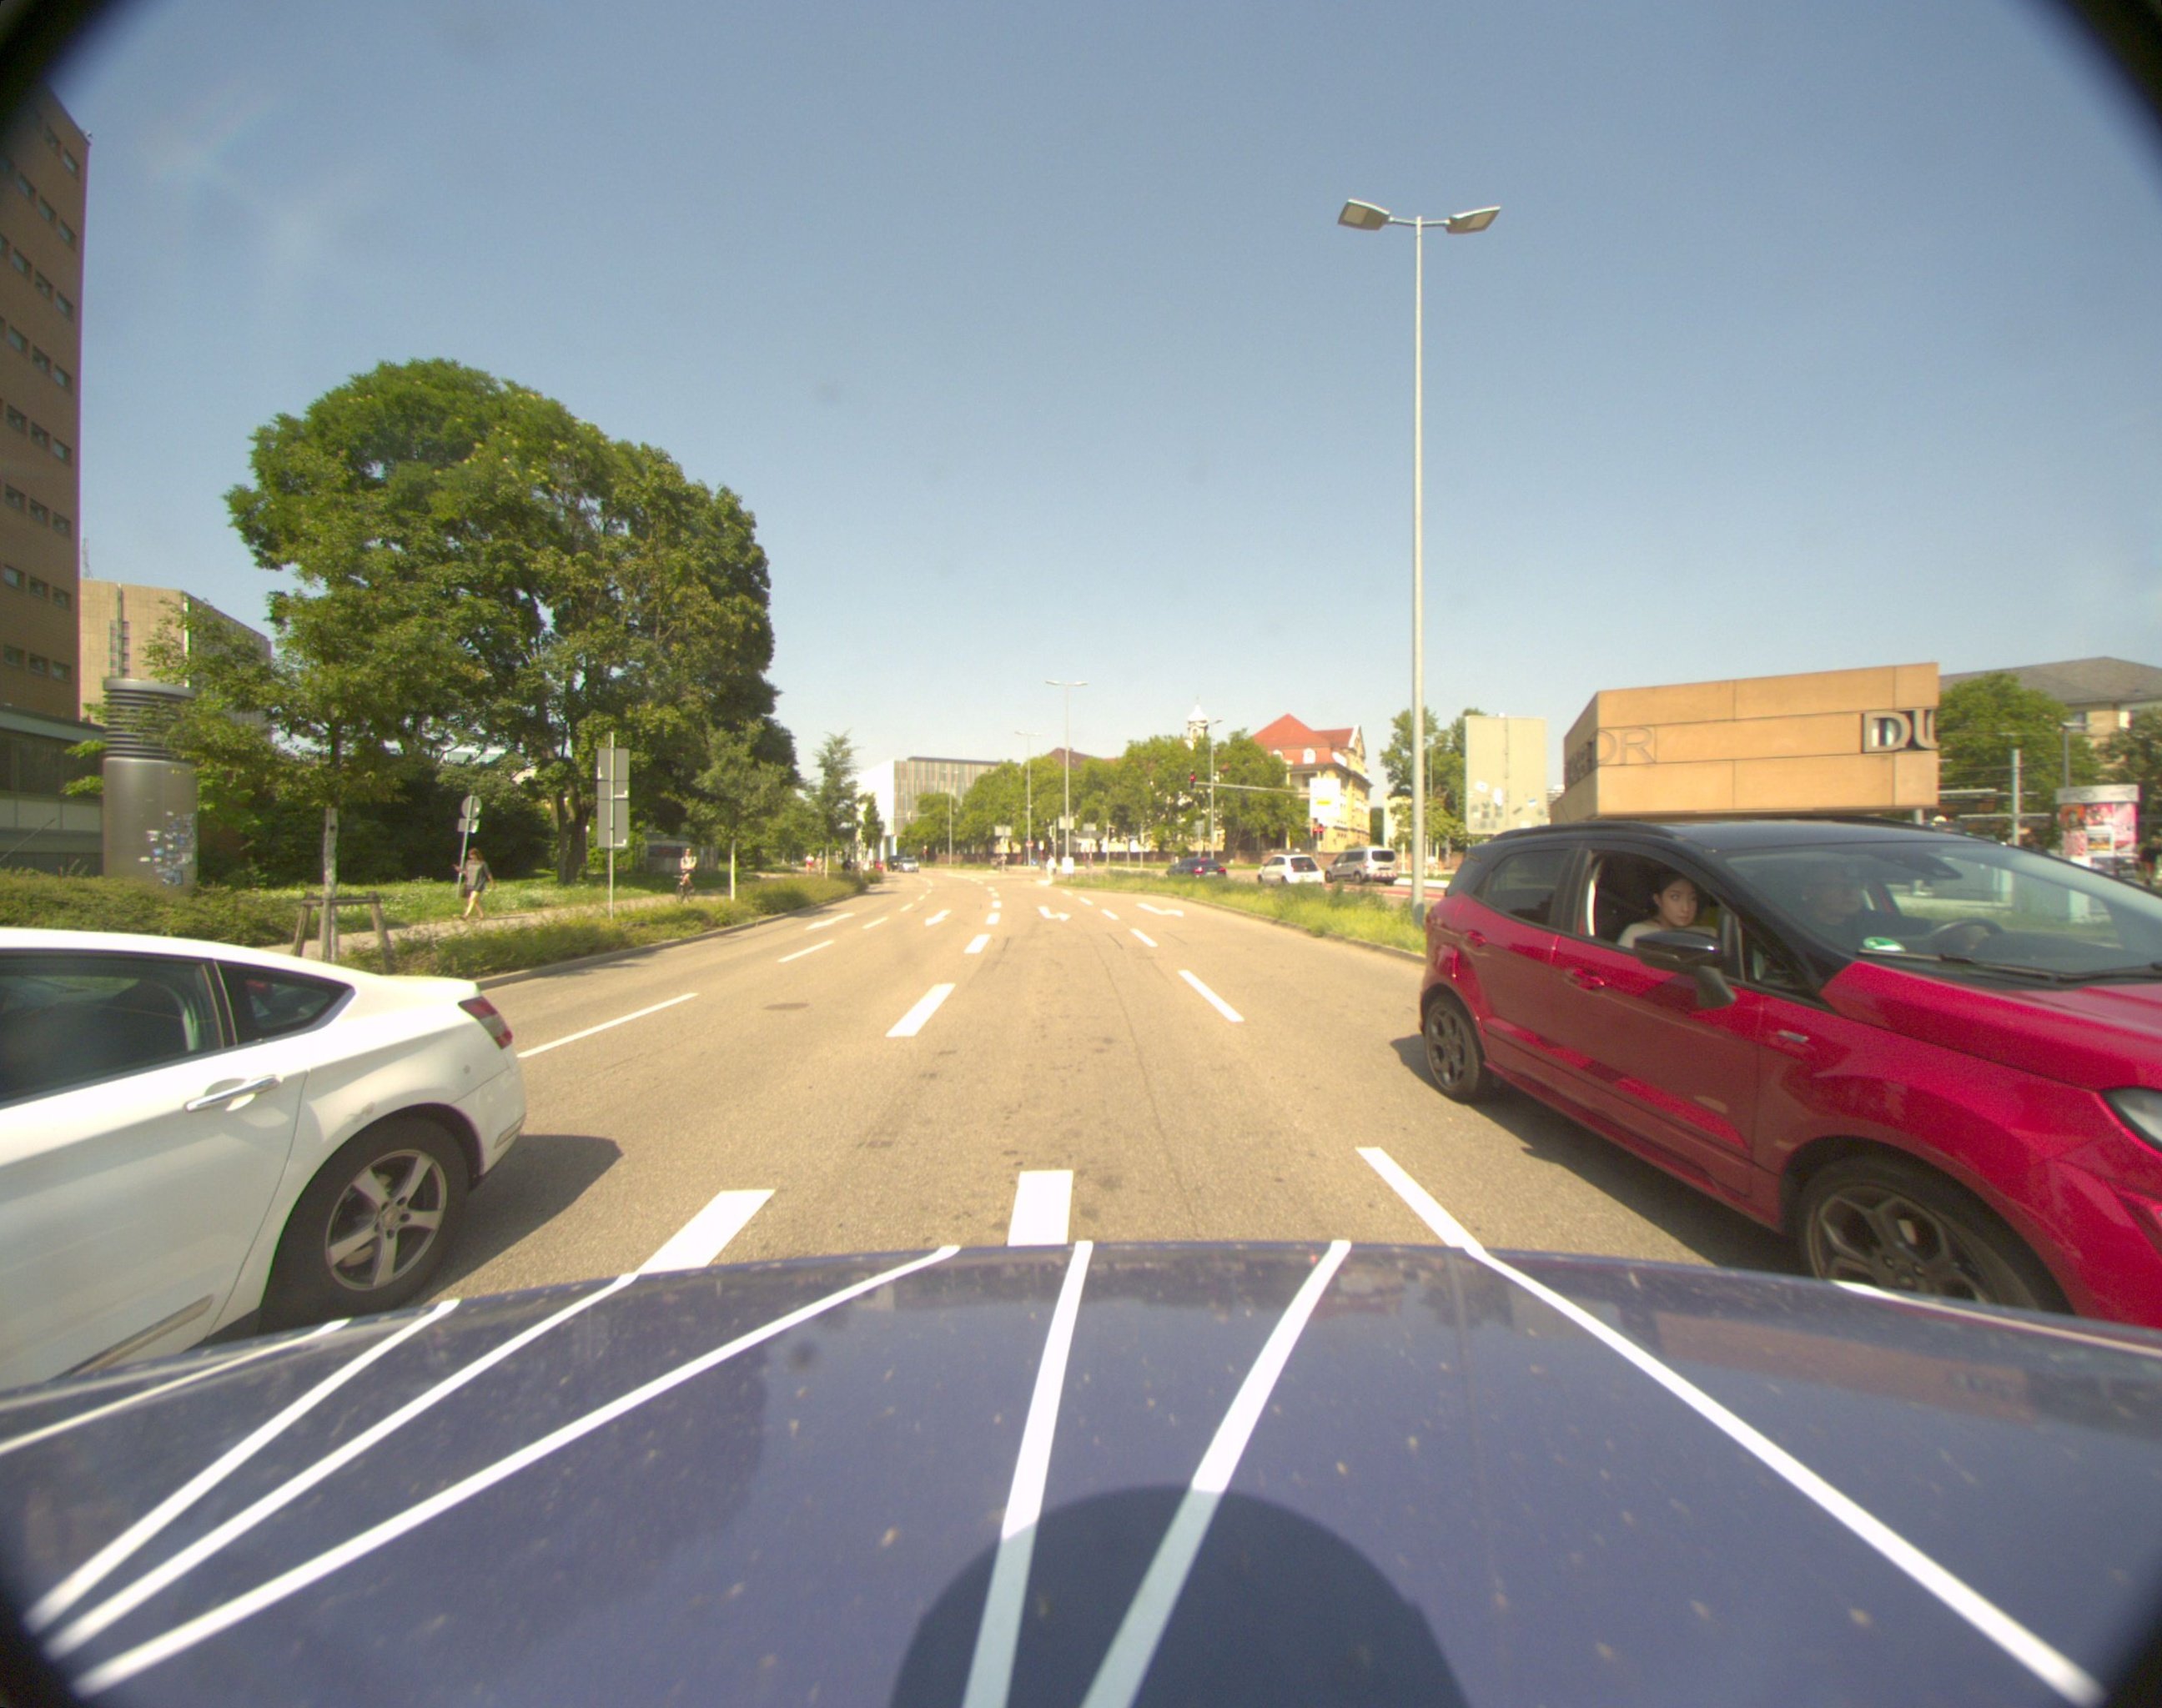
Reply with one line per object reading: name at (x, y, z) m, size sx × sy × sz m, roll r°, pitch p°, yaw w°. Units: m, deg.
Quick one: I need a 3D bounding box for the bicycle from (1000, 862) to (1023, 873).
bicycle at (-6.972, 1.316, 75.925) m, size 2.267 × 1.070 × 0.659 m, roll 0°, pitch 0°, yaw -7°

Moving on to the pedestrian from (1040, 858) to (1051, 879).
pedestrian at (-2.224, 0.884, 47.721) m, size 0.605 × 1.291 × 0.617 m, roll -2°, pitch 1°, yaw -4°

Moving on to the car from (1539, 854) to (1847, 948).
car at (11.823, 0.790, 15.227) m, size 2.000 × 1.575 × 4.711 m, roll 0°, pitch 0°, yaw -8°

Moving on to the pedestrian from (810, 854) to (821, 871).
pedestrian at (-20.289, 0.626, 58.011) m, size 0.635 × 1.291 × 0.486 m, roll -3°, pitch 1°, yaw -28°

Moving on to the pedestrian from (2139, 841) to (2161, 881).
pedestrian at (48.725, 0.315, 34.202) m, size 0.927 × 1.812 × 0.939 m, roll 0°, pitch 1°, yaw 28°

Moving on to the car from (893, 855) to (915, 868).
car at (-20.841, 0.924, 89.153) m, size 1.893 × 1.422 × 4.525 m, roll -2°, pitch 0°, yaw -21°

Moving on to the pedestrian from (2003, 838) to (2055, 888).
pedestrian at (28.142, 0.261, 22.562) m, size 0.771 × 1.488 × 0.606 m, roll 0°, pitch 1°, yaw -1°

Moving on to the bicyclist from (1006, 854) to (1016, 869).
bicyclist at (-7.005, 0.747, 75.941) m, size 1.017 × 1.542 × 0.718 m, roll 0°, pitch 1°, yaw -6°

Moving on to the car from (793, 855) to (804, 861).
car at (-75.598, 1.060, 203.132) m, size 1.877 × 1.521 × 4.522 m, roll 0°, pitch 0°, yaw -32°

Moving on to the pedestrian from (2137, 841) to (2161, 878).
pedestrian at (48.678, 0.240, 34.150) m, size 1.076 × 1.686 × 1.066 m, roll 0°, pitch 1°, yaw 28°

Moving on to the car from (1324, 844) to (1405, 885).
car at (13.593, 0.471, 36.703) m, size 1.869 × 1.843 × 3.911 m, roll 0°, pitch 1°, yaw -12°

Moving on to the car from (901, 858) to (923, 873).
car at (-18.376, 1.217, 82.693) m, size 1.661 × 1.521 × 4.526 m, roll -2°, pitch 0°, yaw -21°

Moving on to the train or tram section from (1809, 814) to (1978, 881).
train or tram section at (47.747, -0.349, 45.341) m, size 2.698 × 3.418 × 13.446 m, roll 0°, pitch 0°, yaw 28°

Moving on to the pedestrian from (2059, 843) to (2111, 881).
pedestrian at (45.267, 0.358, 34.270) m, size 1.076 × 1.686 × 1.066 m, roll 0°, pitch 1°, yaw 28°

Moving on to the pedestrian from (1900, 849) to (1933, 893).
pedestrian at (28.719, 0.585, 26.125) m, size 0.539 × 1.488 × 0.541 m, roll 0°, pitch 1°, yaw -1°

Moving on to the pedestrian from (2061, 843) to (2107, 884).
pedestrian at (45.402, 0.407, 34.403) m, size 0.927 × 1.812 × 0.939 m, roll 0°, pitch 1°, yaw 28°

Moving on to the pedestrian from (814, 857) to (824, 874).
pedestrian at (-20.042, 0.857, 58.059) m, size 0.618 × 1.291 × 0.436 m, roll -3°, pitch 1°, yaw -27°

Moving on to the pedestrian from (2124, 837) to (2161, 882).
pedestrian at (43.049, 0.232, 30.772) m, size 0.804 × 1.812 × 0.534 m, roll 0°, pitch 1°, yaw 28°

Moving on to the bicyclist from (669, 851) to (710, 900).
bicyclist at (-13.083, 0.698, 25.411) m, size 0.904 × 1.596 × 0.924 m, roll 0°, pitch 0°, yaw -2°

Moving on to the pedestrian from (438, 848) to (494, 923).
pedestrian at (-14.247, 0.716, 17.629) m, size 0.672 × 1.689 × 0.805 m, roll 0°, pitch 1°, yaw -8°

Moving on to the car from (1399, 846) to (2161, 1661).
car at (2.944, 0.787, 2.974) m, size 1.694 × 1.577 × 3.844 m, roll -2°, pitch 0°, yaw -1°

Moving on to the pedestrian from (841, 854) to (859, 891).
pedestrian at (-12.065, 0.953, 39.726) m, size 0.823 × 1.892 × 0.630 m, roll -1°, pitch 1°, yaw -12°

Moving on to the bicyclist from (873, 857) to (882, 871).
bicyclist at (-21.201, 1.019, 79.065) m, size 0.679 × 1.392 × 1.049 m, roll 0°, pitch 0°, yaw -3°

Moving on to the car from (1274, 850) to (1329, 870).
car at (18.167, 0.486, 62.683) m, size 4.003 × 1.608 × 1.797 m, roll 0°, pitch 0°, yaw -16°

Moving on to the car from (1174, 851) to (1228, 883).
car at (5.553, 0.584, 35.632) m, size 1.526 × 1.417 × 3.474 m, roll 0°, pitch 0°, yaw -9°

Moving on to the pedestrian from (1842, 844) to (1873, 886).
pedestrian at (27.800, 0.384, 27.193) m, size 0.539 × 1.488 × 0.541 m, roll 0°, pitch 1°, yaw -1°

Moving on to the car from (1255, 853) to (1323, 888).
car at (9.203, 0.690, 33.885) m, size 1.527 × 1.470 × 3.473 m, roll 0°, pitch 0°, yaw -12°

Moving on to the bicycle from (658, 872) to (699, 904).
bicycle at (-13.115, 1.084, 24.785) m, size 0.357 × 0.974 × 1.782 m, roll 0°, pitch 0°, yaw 1°

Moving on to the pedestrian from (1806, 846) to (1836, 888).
pedestrian at (26.546, 0.463, 27.273) m, size 0.539 × 1.488 × 0.541 m, roll 0°, pitch 1°, yaw -1°

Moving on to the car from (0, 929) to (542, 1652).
car at (-3.276, 1.039, 0.962) m, size 1.773 × 1.420 × 4.610 m, roll 0°, pitch 0°, yaw 2°

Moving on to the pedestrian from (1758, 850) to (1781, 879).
pedestrian at (26.713, 0.396, 29.487) m, size 0.538 × 1.093 × 0.543 m, roll 0°, pitch 1°, yaw 31°
